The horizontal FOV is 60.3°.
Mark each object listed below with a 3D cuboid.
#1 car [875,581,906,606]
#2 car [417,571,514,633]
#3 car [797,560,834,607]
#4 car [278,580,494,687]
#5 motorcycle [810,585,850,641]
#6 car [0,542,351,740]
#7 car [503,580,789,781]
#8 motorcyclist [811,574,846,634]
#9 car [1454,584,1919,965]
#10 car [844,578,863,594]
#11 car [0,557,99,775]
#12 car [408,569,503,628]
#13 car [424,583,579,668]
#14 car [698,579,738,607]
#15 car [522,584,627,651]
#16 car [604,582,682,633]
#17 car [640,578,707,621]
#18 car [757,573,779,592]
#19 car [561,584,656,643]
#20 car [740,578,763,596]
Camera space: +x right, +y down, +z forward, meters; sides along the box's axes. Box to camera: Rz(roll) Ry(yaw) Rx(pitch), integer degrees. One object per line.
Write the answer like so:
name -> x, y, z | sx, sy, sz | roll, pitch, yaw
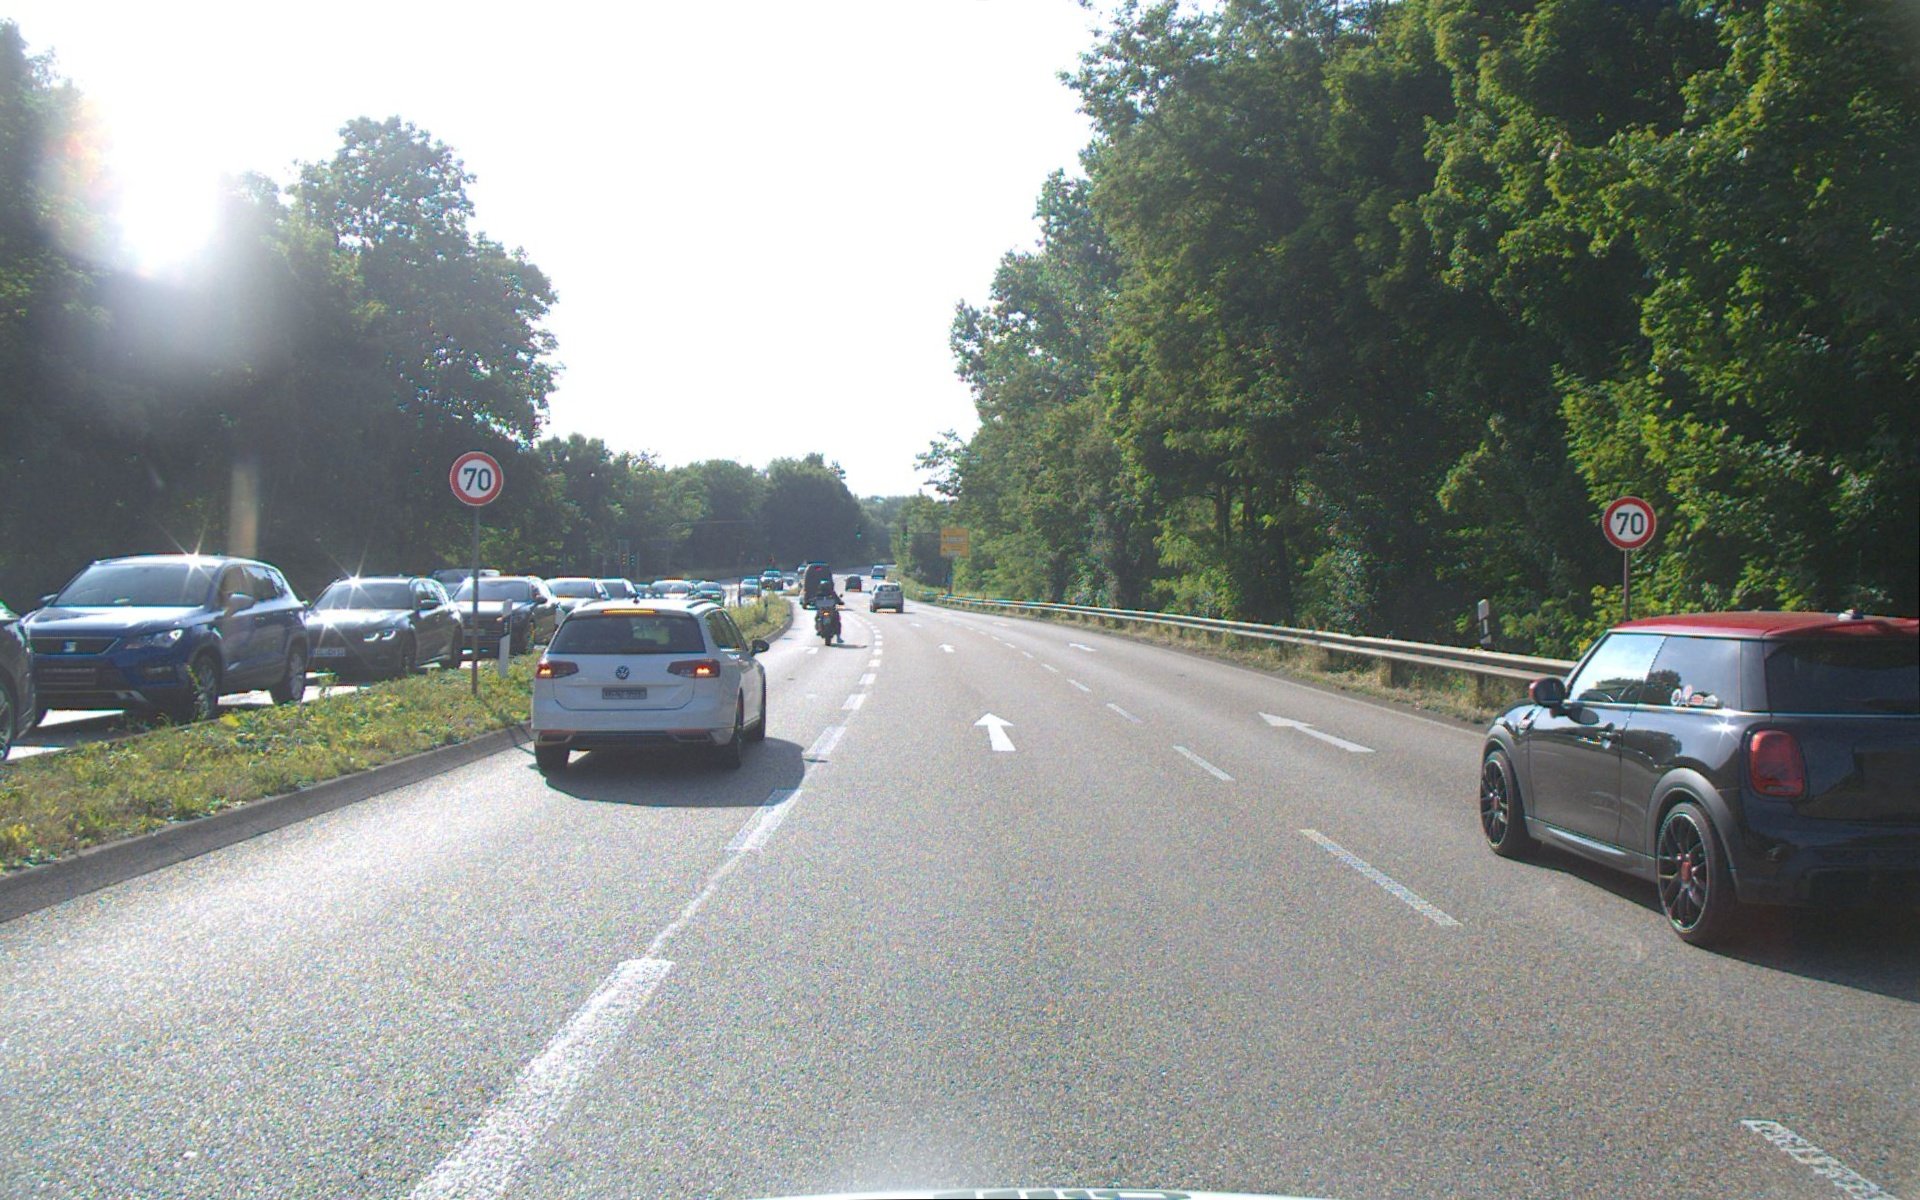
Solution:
car -> -4.044, -0.384, 96.922 | 1.726, 1.404, 3.970 | 2, 1, -2
car -> -17.129, 0.029, 57.535 | 1.972, 1.969, 5.099 | -3, 1, -3
car -> -9.369, -1.102, 107.732 | 2.166, 2.939, 7.007 | -1, 1, -3
car -> -8.443, 0.423, 24.790 | 1.736, 1.403, 4.841 | -1, 1, -3
motorcycle -> -3.646, 0.342, 46.669 | 0.890, 1.478, 2.688 | -3, 1, -1
car -> -7.849, 0.315, 16.798 | 1.736, 1.698, 4.798 | -1, 1, -3
car -> -2.786, 0.620, 15.773 | 1.832, 1.548, 4.833 | 1, 1, -1
motorcyclist -> -3.713, 0.094, 46.698 | 0.866, 1.644, 1.290 | 2, 1, -1
car -> 4.065, 0.703, 8.606 | 1.782, 1.493, 3.873 | 2, 1, 0
car -> -10.817, -1.426, 167.542 | 1.711, 1.564, 3.920 | 2, 1, -7
car -> -7.338, 0.481, 10.020 | 1.725, 1.482, 5.183 | -1, 1, -3
car -> -13.410, -0.072, 44.132 | 1.515, 1.408, 3.616 | -3, 1, -3
car -> -8.711, 0.419, 31.864 | 1.736, 1.448, 5.190 | -1, 1, -3
car -> -16.067, -0.509, 110.100 | 2.061, 1.738, 6.222 | -1, 1, -3
car -> -9.035, 0.366, 39.055 | 1.673, 1.448, 4.209 | -1, 1, -3
car -> -9.713, 0.207, 50.946 | 1.732, 1.442, 4.432 | -1, 1, -3
car -> -10.247, -0.040, 59.465 | 1.830, 1.442, 4.413 | -1, 1, -3
car -> -18.937, -1.754, 162.997 | 2.036, 1.794, 4.751 | -1, 1, -6
car -> -9.432, 0.311, 44.703 | 1.732, 1.448, 5.190 | -1, 1, -4
car -> -17.736, -1.105, 140.832 | 1.753, 1.436, 4.222 | 2, 1, -6
